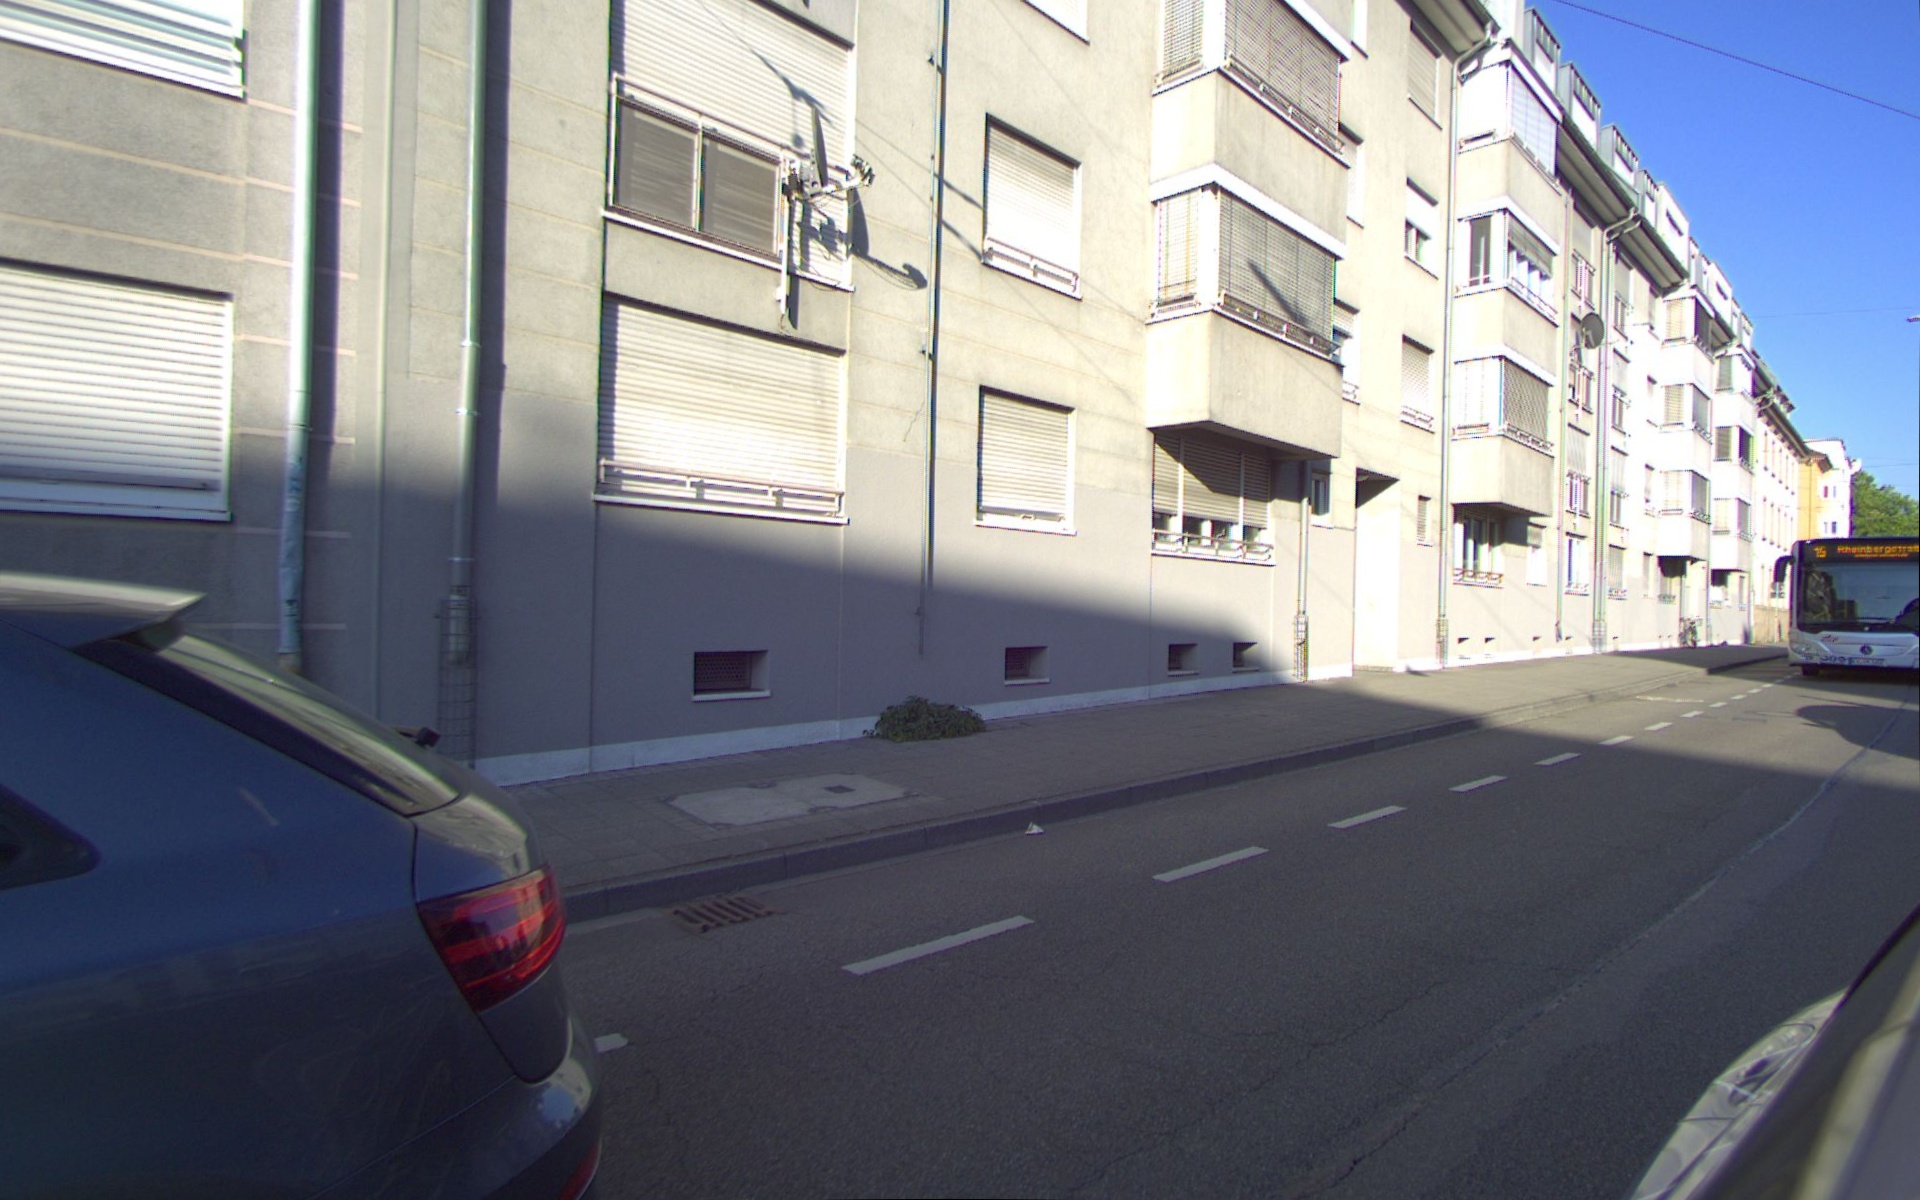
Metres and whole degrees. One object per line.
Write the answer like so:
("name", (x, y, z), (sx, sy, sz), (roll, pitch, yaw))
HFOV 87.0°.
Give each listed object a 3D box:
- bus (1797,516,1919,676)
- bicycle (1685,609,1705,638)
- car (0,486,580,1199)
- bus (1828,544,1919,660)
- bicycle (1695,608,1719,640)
("bus", (21.885, -0.025, 23.781), (2.724, 3.116, 10.432), (1, 0, 43))
("bicycle", (25.882, 0.827, 35.612), (0.278, 0.983, 1.702), (5, 3, 44))
("car", (-2.619, 0.647, 0.757), (3.996, 1.607, 1.770), (1, 0, -41))
("bus", (29.042, 0.095, 31.395), (2.705, 3.116, 10.432), (1, 0, 43))
("bicycle", (25.817, 0.821, 34.967), (0.360, 1.044, 1.702), (5, 3, 44))
